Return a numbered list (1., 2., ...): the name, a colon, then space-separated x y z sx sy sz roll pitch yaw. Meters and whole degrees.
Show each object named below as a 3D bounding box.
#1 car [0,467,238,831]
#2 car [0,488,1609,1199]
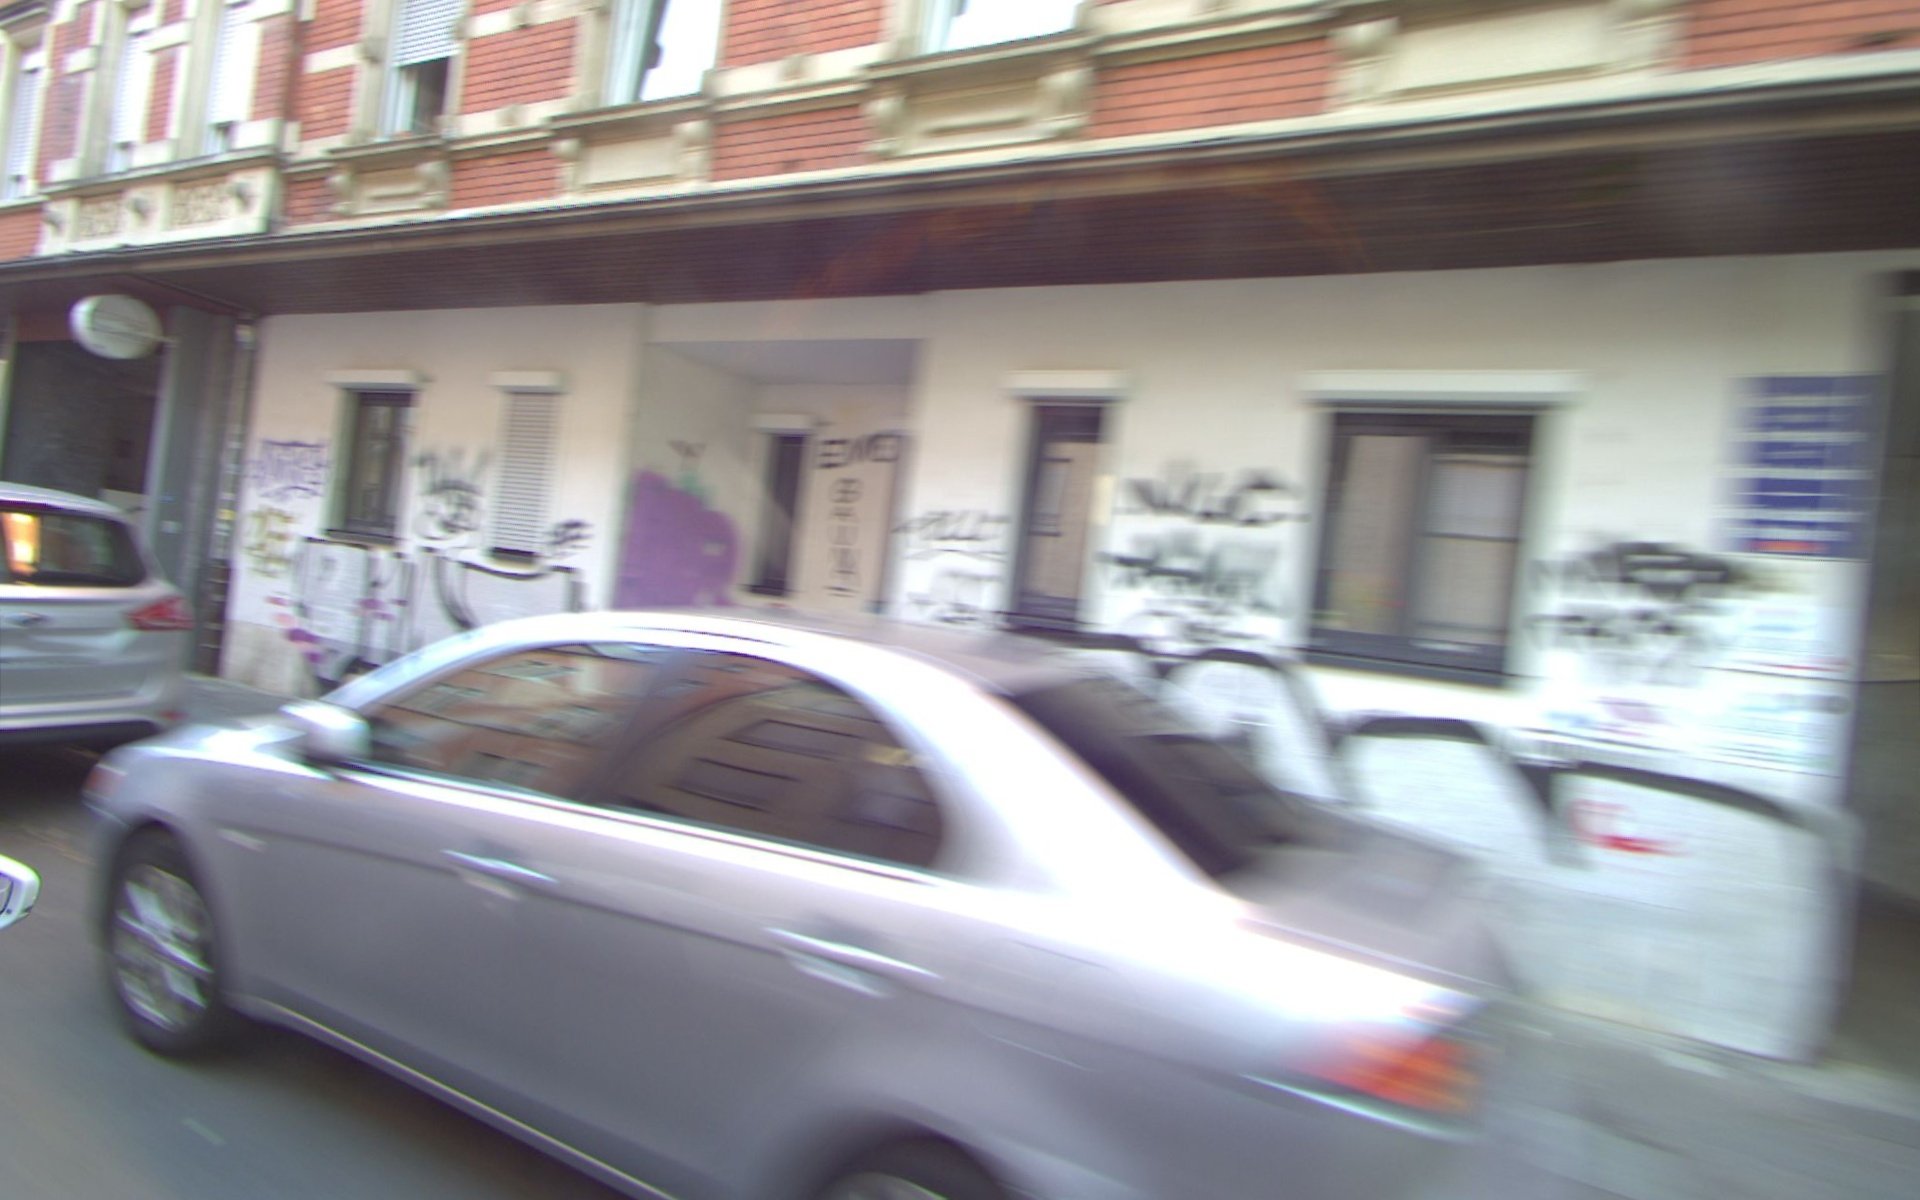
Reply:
1. car: -6.046 0.064 5.584 3.802 1.675 1.644 6 -2 28
2. car: -0.806 0.728 3.036 4.321 1.580 1.726 7 -1 27
